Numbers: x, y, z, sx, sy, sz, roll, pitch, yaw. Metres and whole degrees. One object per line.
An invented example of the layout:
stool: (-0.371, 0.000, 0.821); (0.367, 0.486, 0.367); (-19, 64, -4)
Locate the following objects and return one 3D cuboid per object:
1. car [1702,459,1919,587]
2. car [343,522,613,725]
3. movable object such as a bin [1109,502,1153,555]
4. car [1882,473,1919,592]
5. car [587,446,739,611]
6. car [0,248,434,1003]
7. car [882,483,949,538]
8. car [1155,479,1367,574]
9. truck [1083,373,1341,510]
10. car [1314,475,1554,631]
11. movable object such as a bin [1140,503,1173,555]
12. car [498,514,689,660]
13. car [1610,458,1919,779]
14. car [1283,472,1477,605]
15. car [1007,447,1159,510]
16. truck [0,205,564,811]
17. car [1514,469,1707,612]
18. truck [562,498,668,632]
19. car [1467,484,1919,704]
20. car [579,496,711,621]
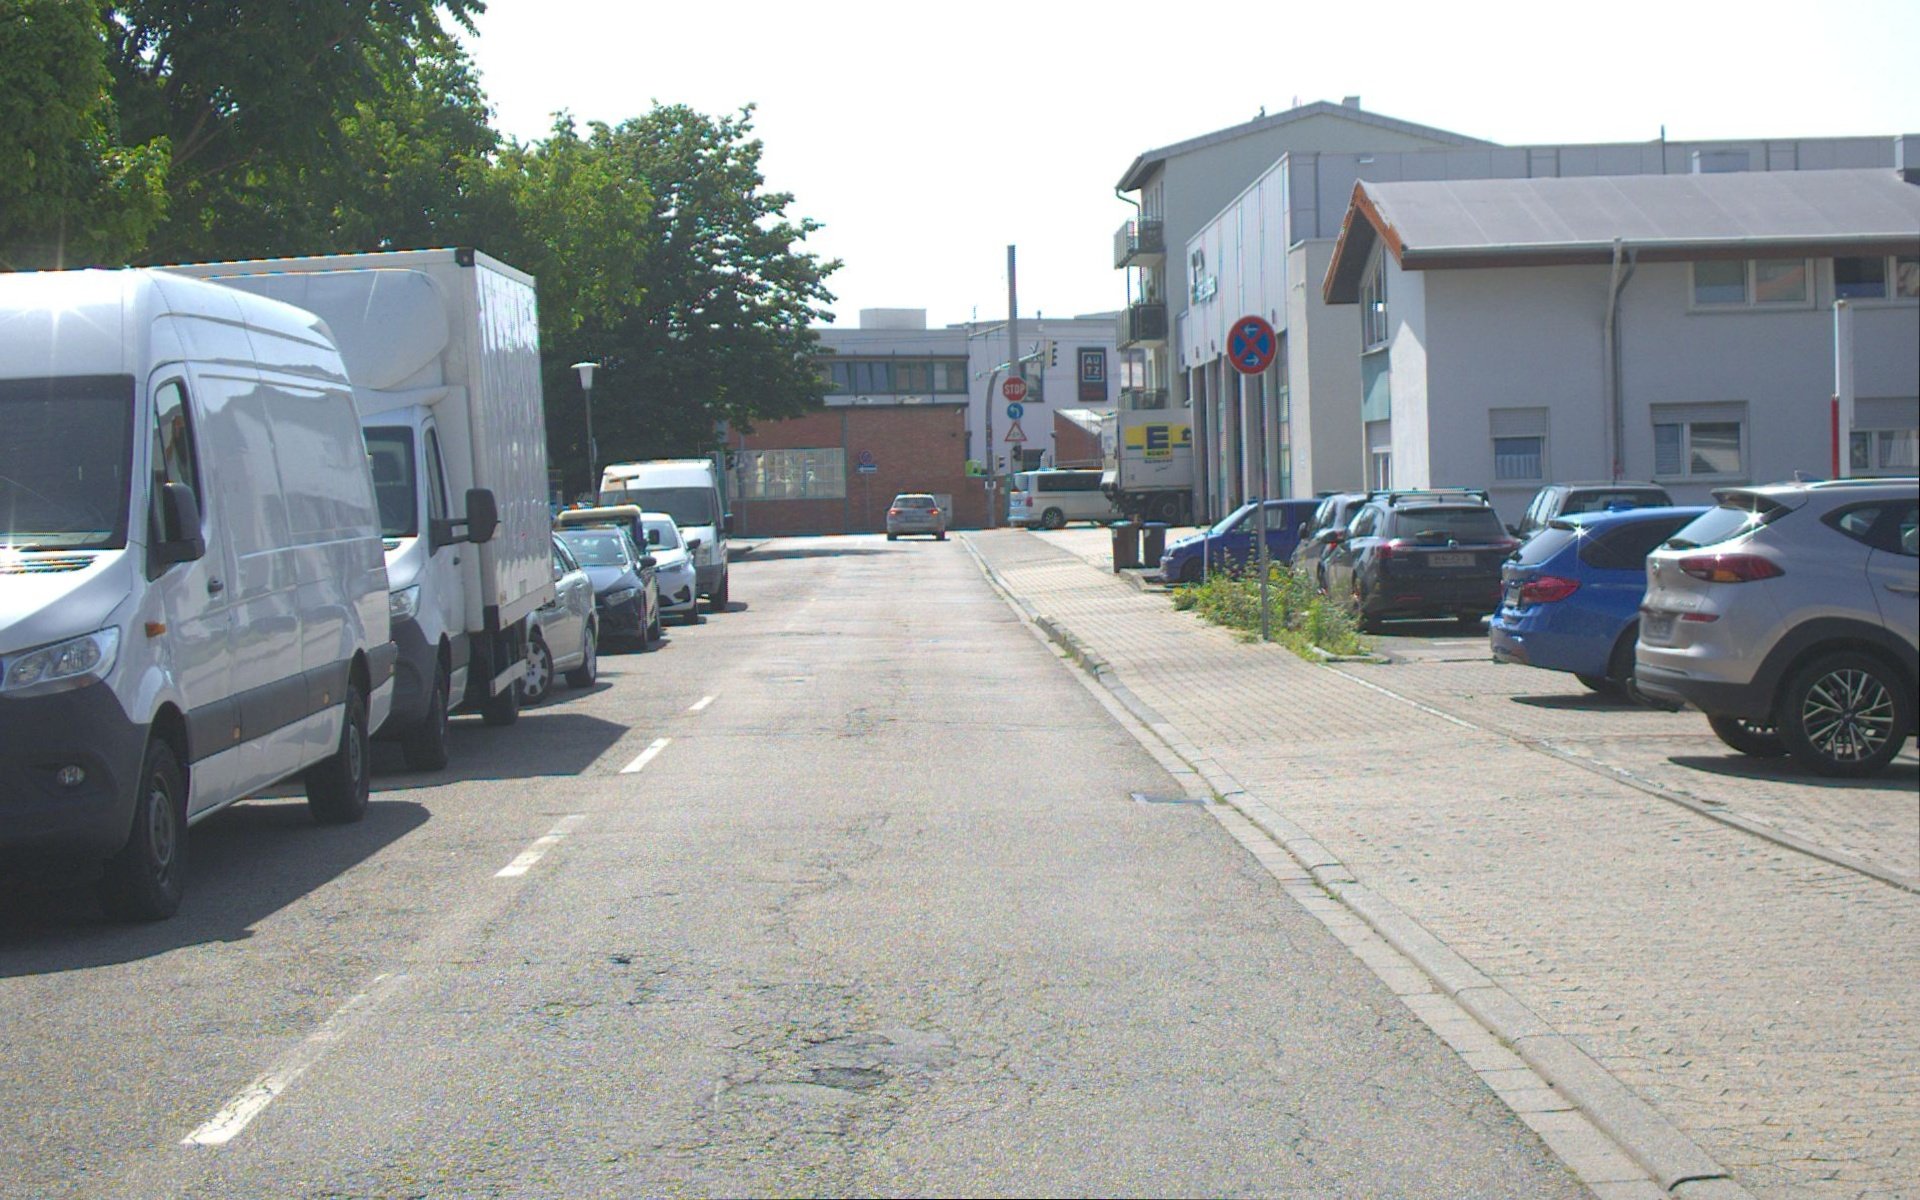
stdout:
car: (11.244, -1.009, 44.130); (1.759, 1.490, 4.151); (-4, 2, -11)
car: (-4.096, 0.141, 29.820); (1.741, 1.516, 4.311); (-2, 2, -1)
movable object such as a bin: (3.170, -1.318, 63.586); (0.568, 0.943, 0.556); (-1, 3, 33)
car: (11.587, -0.762, 38.233); (1.642, 1.320, 4.101); (-2, 2, 2)
car: (-4.623, -1.099, 54.214); (2.005, 2.358, 5.230); (-4, 1, -2)
car: (-4.059, 0.062, 15.330); (2.168, 2.587, 6.920); (-3, 1, 1)
car: (-1.454, -2.881, 110.880); (1.890, 1.679, 3.958); (-2, 1, -4)
car: (4.881, -1.201, 55.993); (3.253, 1.394, 1.673); (-2, 2, 0)
truck: (7.819, -4.935, 107.118); (7.358, 3.632, 2.768); (-5, 3, -6)
car: (5.232, -0.580, 38.564); (1.858, 1.562, 4.952); (-2, 2, -1)
movable object such as a bin: (3.659, -1.324, 63.999); (0.514, 0.943, 0.487); (-2, 2, 11)
car: (-4.167, -0.192, 39.670); (1.704, 1.458, 4.114); (-3, 2, 0)
car: (5.966, 0.137, 19.329); (4.200, 1.676, 1.767); (2, 1, -1)
car: (5.331, -0.831, 44.116); (1.811, 1.553, 4.293); (-2, 2, -1)
car: (4.138, -4.092, 115.544); (4.653, 1.951, 1.917); (-3, 2, -19)
truck: (-4.292, -0.604, 23.245); (2.685, 3.354, 7.131); (-3, 1, -3)
car: (7.800, -0.756, 41.524); (1.760, 1.589, 3.619); (1, 2, 3)
truck: (-4.533, -0.490, 45.444); (1.138, 1.616, 3.142); (-4, 2, -3)
car: (6.104, -0.090, 25.453); (4.352, 1.436, 1.892); (-2, 2, -1)
car: (-4.499, -0.630, 49.052); (1.704, 1.618, 3.974); (-3, 2, -5)
